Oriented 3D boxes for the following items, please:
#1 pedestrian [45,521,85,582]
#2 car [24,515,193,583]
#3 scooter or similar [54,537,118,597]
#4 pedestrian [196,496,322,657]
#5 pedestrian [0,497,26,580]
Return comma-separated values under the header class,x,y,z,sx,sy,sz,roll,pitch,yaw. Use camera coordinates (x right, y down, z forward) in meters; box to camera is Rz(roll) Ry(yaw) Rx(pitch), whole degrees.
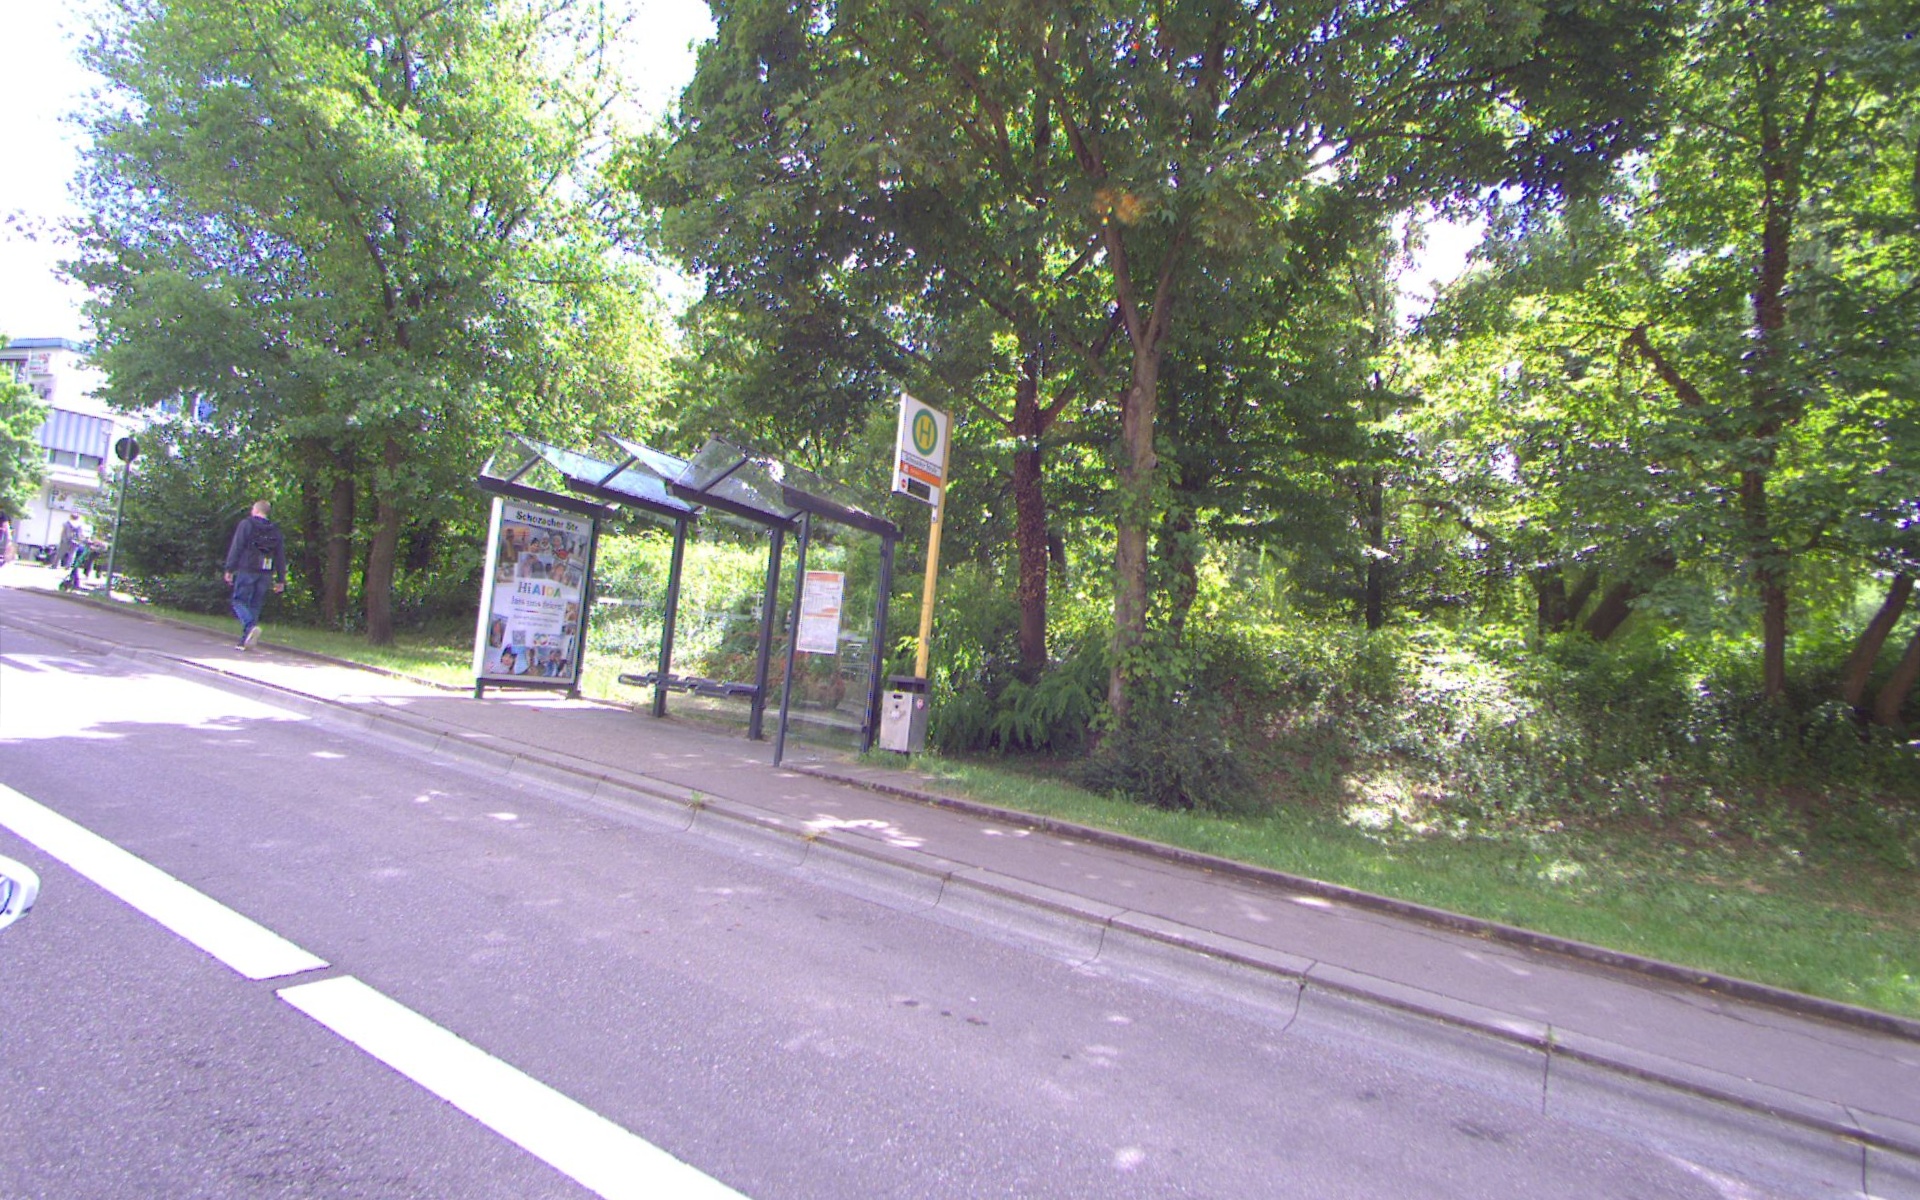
class,x,y,z,sx,sy,sz,roll,pitch,yaw
pedestrian,-26.812,-1.434,30.145,0.652,1.733,0.458,8,-1,-29
car,-33.253,-1.947,39.443,1.964,2.038,4.549,6,-1,24
scooter or similar,-20.224,-0.750,23.297,0.446,1.244,0.893,7,-2,26
pedestrian,-8.919,-0.294,12.810,0.996,1.898,0.797,6,-1,32
pedestrian,-22.629,-1.472,23.612,0.508,1.897,0.639,7,-2,8
